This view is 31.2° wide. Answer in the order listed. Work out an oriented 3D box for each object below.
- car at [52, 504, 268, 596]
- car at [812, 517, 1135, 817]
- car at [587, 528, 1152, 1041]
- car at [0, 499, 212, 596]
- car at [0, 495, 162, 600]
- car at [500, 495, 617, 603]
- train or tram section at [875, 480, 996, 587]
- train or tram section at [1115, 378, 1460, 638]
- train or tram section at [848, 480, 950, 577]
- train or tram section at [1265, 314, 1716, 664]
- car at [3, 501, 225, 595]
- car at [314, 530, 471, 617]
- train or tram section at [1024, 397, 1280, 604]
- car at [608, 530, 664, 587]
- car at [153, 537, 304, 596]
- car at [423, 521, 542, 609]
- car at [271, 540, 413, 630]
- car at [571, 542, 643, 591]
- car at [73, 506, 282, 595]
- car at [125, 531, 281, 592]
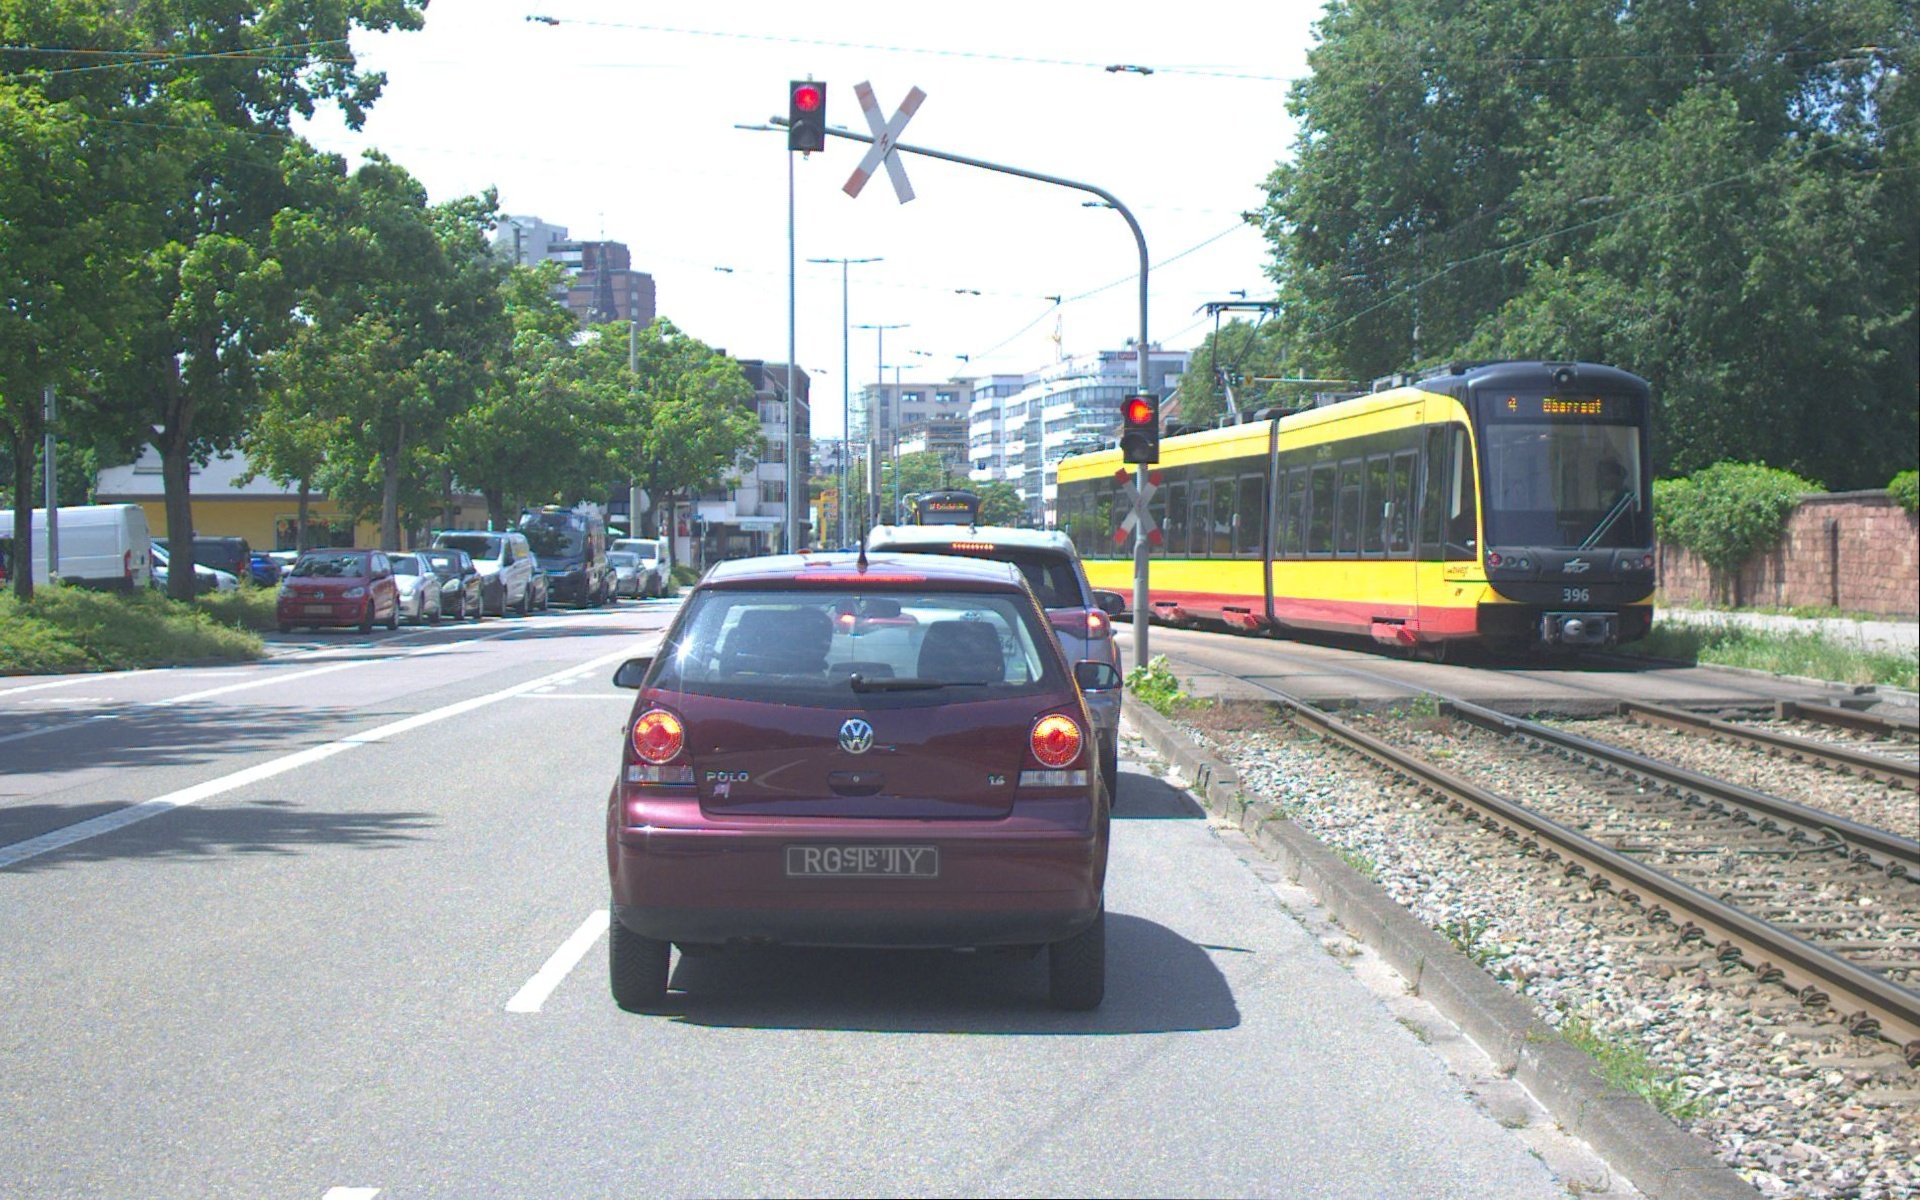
[{"bbox_3d":[-21.254,-1.324,91.463,5.097,2.237,2.378,2,0,1],"label":"car"},{"bbox_3d":[0.033,0.337,21.350,1.777,1.641,4.000,2,1,-1],"label":"car"},{"bbox_3d":[-0.316,0.522,12.430,1.672,1.516,4.000,2,1,-1],"label":"car"},{"bbox_3d":[-21.532,-1.304,85.804,5.097,2.237,2.378,2,0,1],"label":"car"},{"bbox_3d":[-20.893,-1.201,77.651,5.097,2.237,2.378,2,0,1],"label":"car"},{"bbox_3d":[-10.574,-1.327,90.943,2.361,2.683,5.307,2,0,0],"label":"car"},{"bbox_3d":[-0.992,-2.455,124.615,2.740,3.597,12.873,2,1,-7],"label":"train or tram section"},{"bbox_3d":[5.093,-1.481,56.789,3.027,3.785,13.093,0,1,-6],"label":"train or tram section"},{"bbox_3d":[-2.473,-2.848,135.979,2.740,3.597,10.953,2,1,-7],"label":"train or tram section"},{"bbox_3d":[6.349,-1.342,43.847,3.028,3.785,13.091,0,1,-3],"label":"train or tram section"},{"bbox_3d":[-21.865,-1.332,88.998,5.097,2.237,2.378,2,0,1],"label":"car"},{"bbox_3d":[-11.119,-0.505,67.668,1.976,1.595,4.557,2,0,4],"label":"car"},{"bbox_3d":[3.649,-1.965,69.472,3.027,3.785,12.763,0,1,-7],"label":"train or tram section"},{"bbox_3d":[-10.761,-1.377,114.229,1.774,1.822,4.001,2,0,-6],"label":"car"},{"bbox_3d":[-21.580,-0.990,101.550,4.020,1.611,1.816,2,0,1],"label":"car"},{"bbox_3d":[-10.779,-0.782,77.905,1.783,1.875,4.785,2,0,2],"label":"car"},{"bbox_3d":[-10.950,-0.260,61.120,1.663,1.491,4.000,2,0,1],"label":"car"},{"bbox_3d":[-11.086,-1.045,108.110,1.614,1.436,4.000,2,0,3],"label":"car"},{"bbox_3d":[-21.367,-1.341,94.039,5.097,2.237,2.378,2,0,1],"label":"car"},{"bbox_3d":[-21.659,-1.095,98.469,4.020,1.611,1.816,2,0,1],"label":"car"}]
